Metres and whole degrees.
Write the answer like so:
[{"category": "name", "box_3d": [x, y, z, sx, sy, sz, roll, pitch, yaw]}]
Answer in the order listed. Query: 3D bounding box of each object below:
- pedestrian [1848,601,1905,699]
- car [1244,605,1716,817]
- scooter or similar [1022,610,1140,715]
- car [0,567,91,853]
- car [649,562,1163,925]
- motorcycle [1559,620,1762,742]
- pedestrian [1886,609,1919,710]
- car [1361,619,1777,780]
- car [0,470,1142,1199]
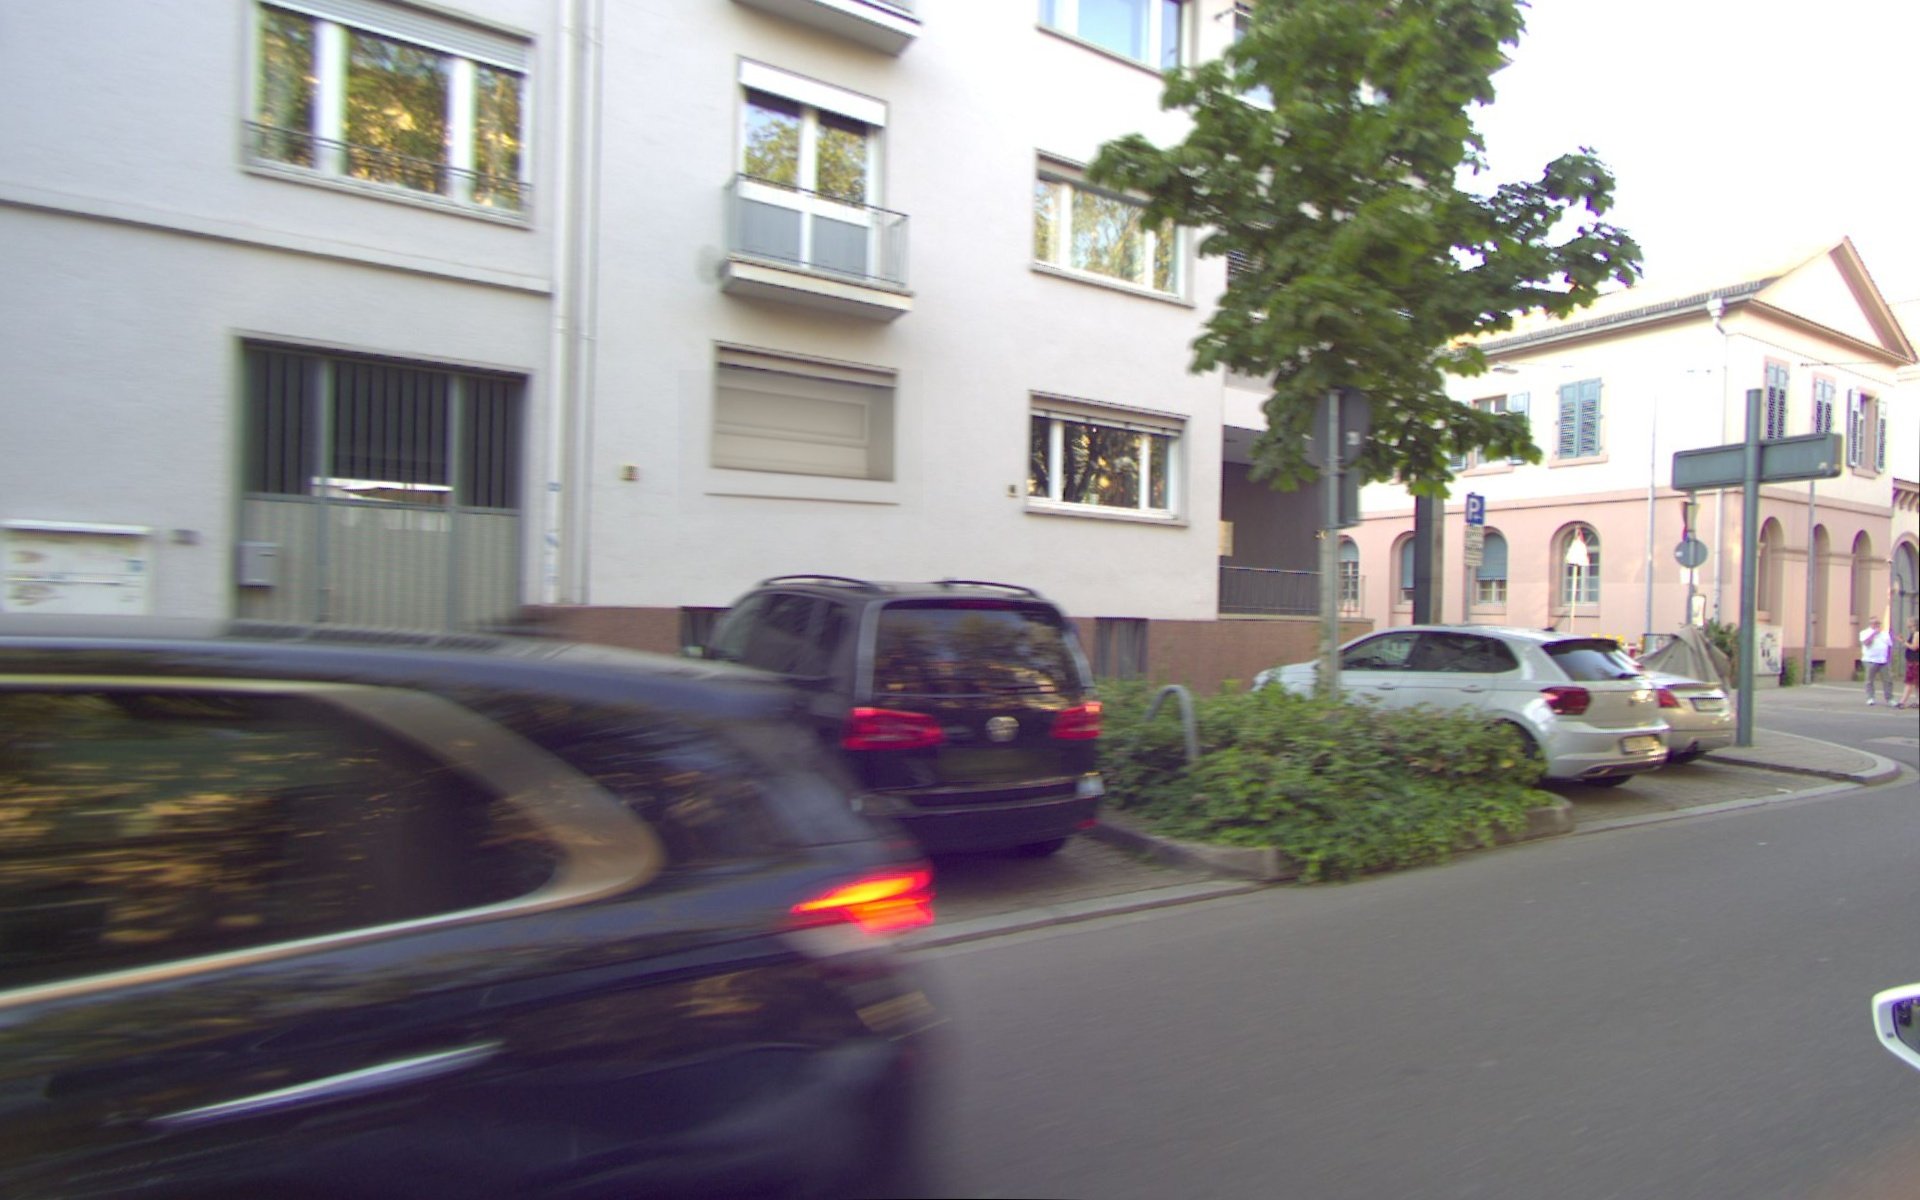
[{"category": "pedestrian", "box_3d": [18.048, 0.975, 19.787, 0.601, 1.875, 0.554, 2, 1, -16]}, {"category": "car", "box_3d": [4.804, 0.889, 9.821, 1.715, 1.478, 3.722, 2, 2, -30]}, {"category": "scooter or similar", "box_3d": [1.558, 0.800, 12.873, 1.402, 1.278, 0.513, 2, 1, -26]}, {"category": "car", "box_3d": [-5.490, 0.586, 4.345, 1.733, 1.459, 4.057, 2, 1, -28]}, {"category": "car", "box_3d": [-0.710, 0.632, 6.832, 1.912, 1.654, 4.075, 2, 1, -28]}, {"category": "motorcycle", "box_3d": [9.060, 0.997, 13.137, 0.950, 1.438, 2.152, 2, -1, -8]}, {"category": "pedestrian", "box_3d": [18.206, 1.114, 19.166, 0.601, 1.875, 0.554, 0, 1, -16]}, {"category": "car", "box_3d": [6.816, 1.009, 11.693, 1.820, 1.329, 3.727, 2, 2, -25]}, {"category": "car", "box_3d": [-1.973, 0.645, 1.479, 4.225, 1.569, 1.868, 2, -1, -30]}]
